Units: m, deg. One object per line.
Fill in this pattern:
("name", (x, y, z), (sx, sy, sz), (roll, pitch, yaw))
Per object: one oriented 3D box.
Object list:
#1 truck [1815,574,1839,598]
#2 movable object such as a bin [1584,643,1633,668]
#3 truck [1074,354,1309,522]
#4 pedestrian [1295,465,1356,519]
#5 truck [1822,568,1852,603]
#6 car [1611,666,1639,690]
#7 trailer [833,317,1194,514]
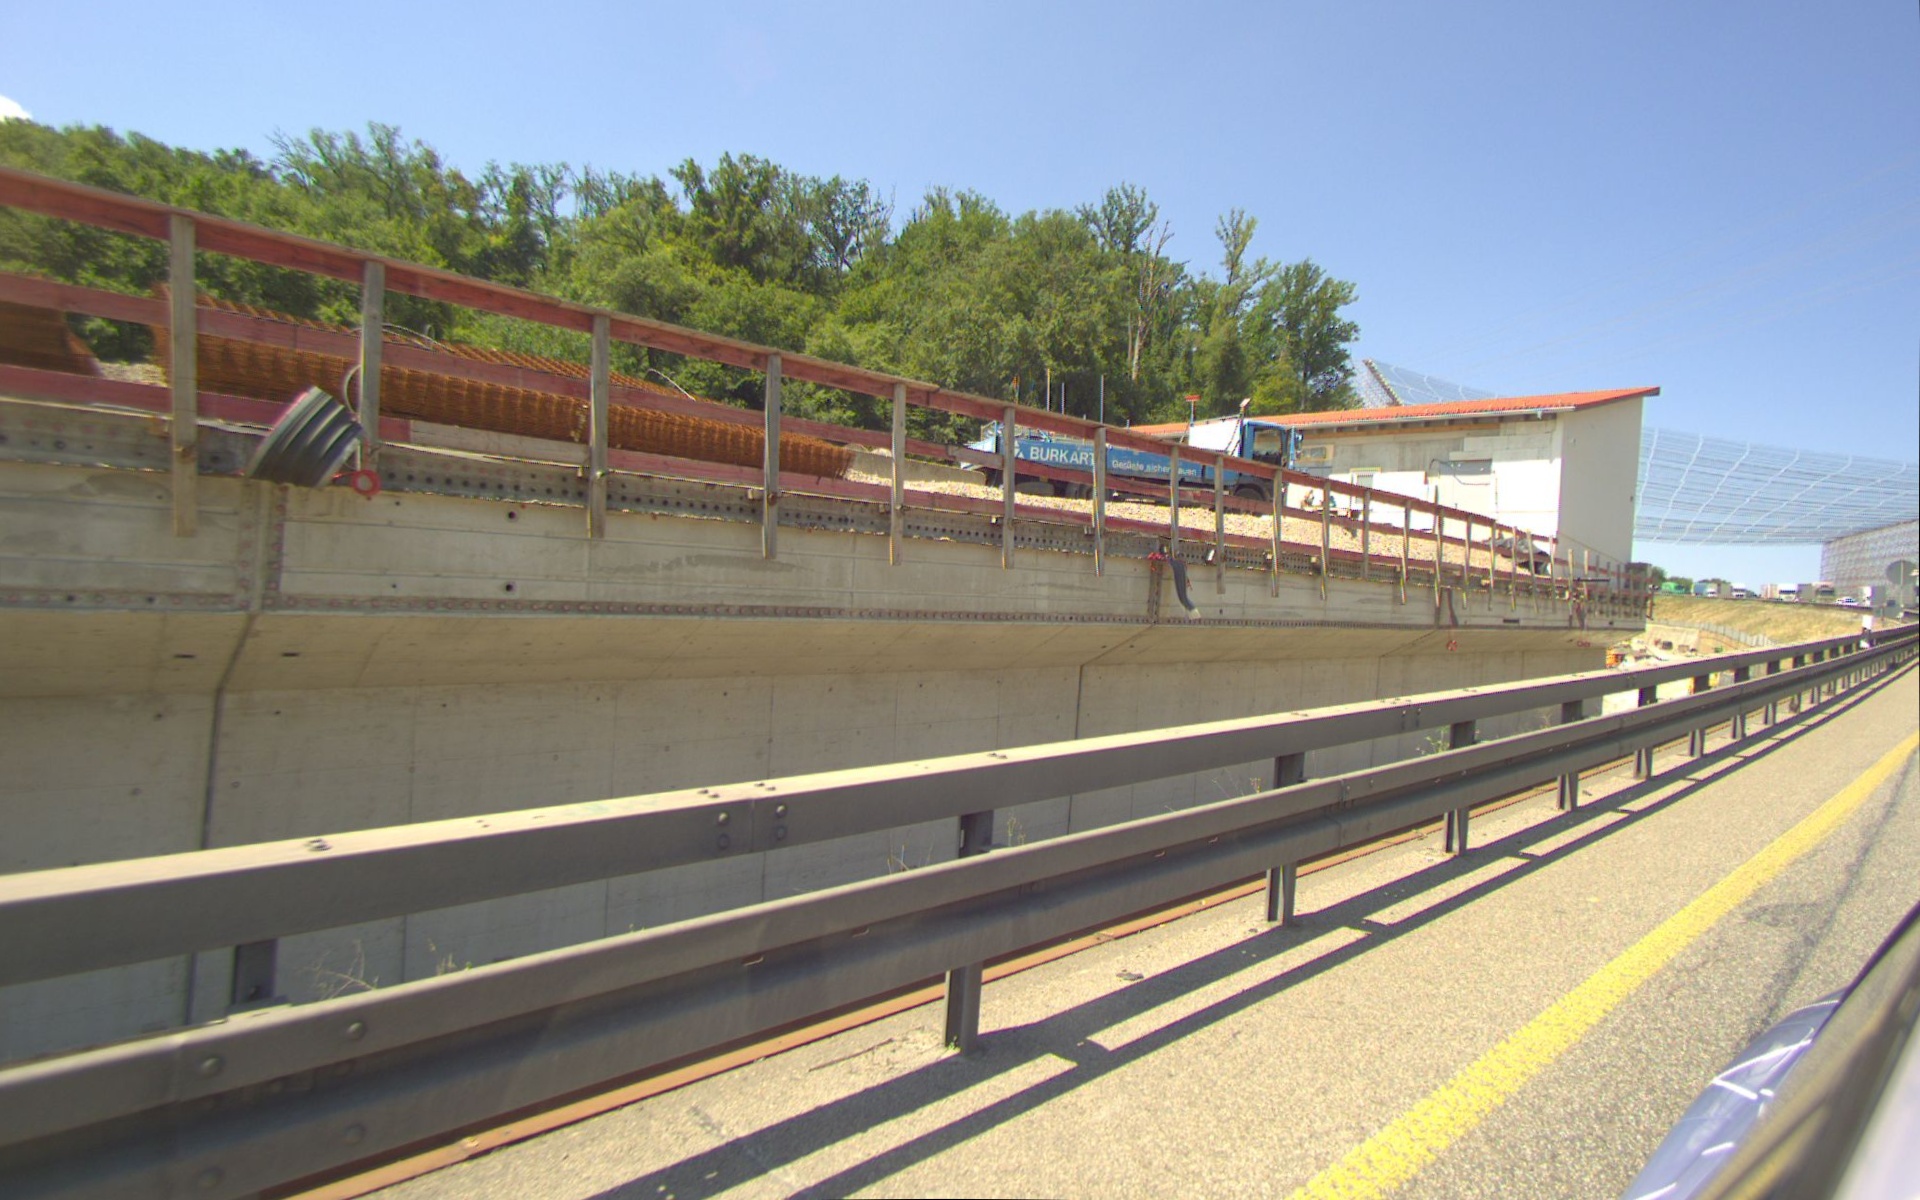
("truck", (148.218, -2.410, 173.075), (3.029, 4.107, 8.551), (0, 1, 40))
("movable object such as a bin", (81.087, 6.906, 126.603), (2.175, 2.669, 5.508), (0, 1, -7))
("truck", (6.364, -4.296, 27.956), (5.590, 3.741, 2.725), (3, -1, -19))
("pedestrian", (8.776, -2.572, 24.306), (0.976, 1.165, 1.023), (-1, 1, -37))
("truck", (125.056, -2.138, 144.367), (3.029, 4.865, 8.814), (0, 1, 40))
("car", (66.858, 7.821, 101.782), (1.990, 2.039, 3.944), (0, 1, 39))
("trailer", (1.419, -4.506, 26.207), (8.805, 3.741, 2.725), (3, -1, -19))
